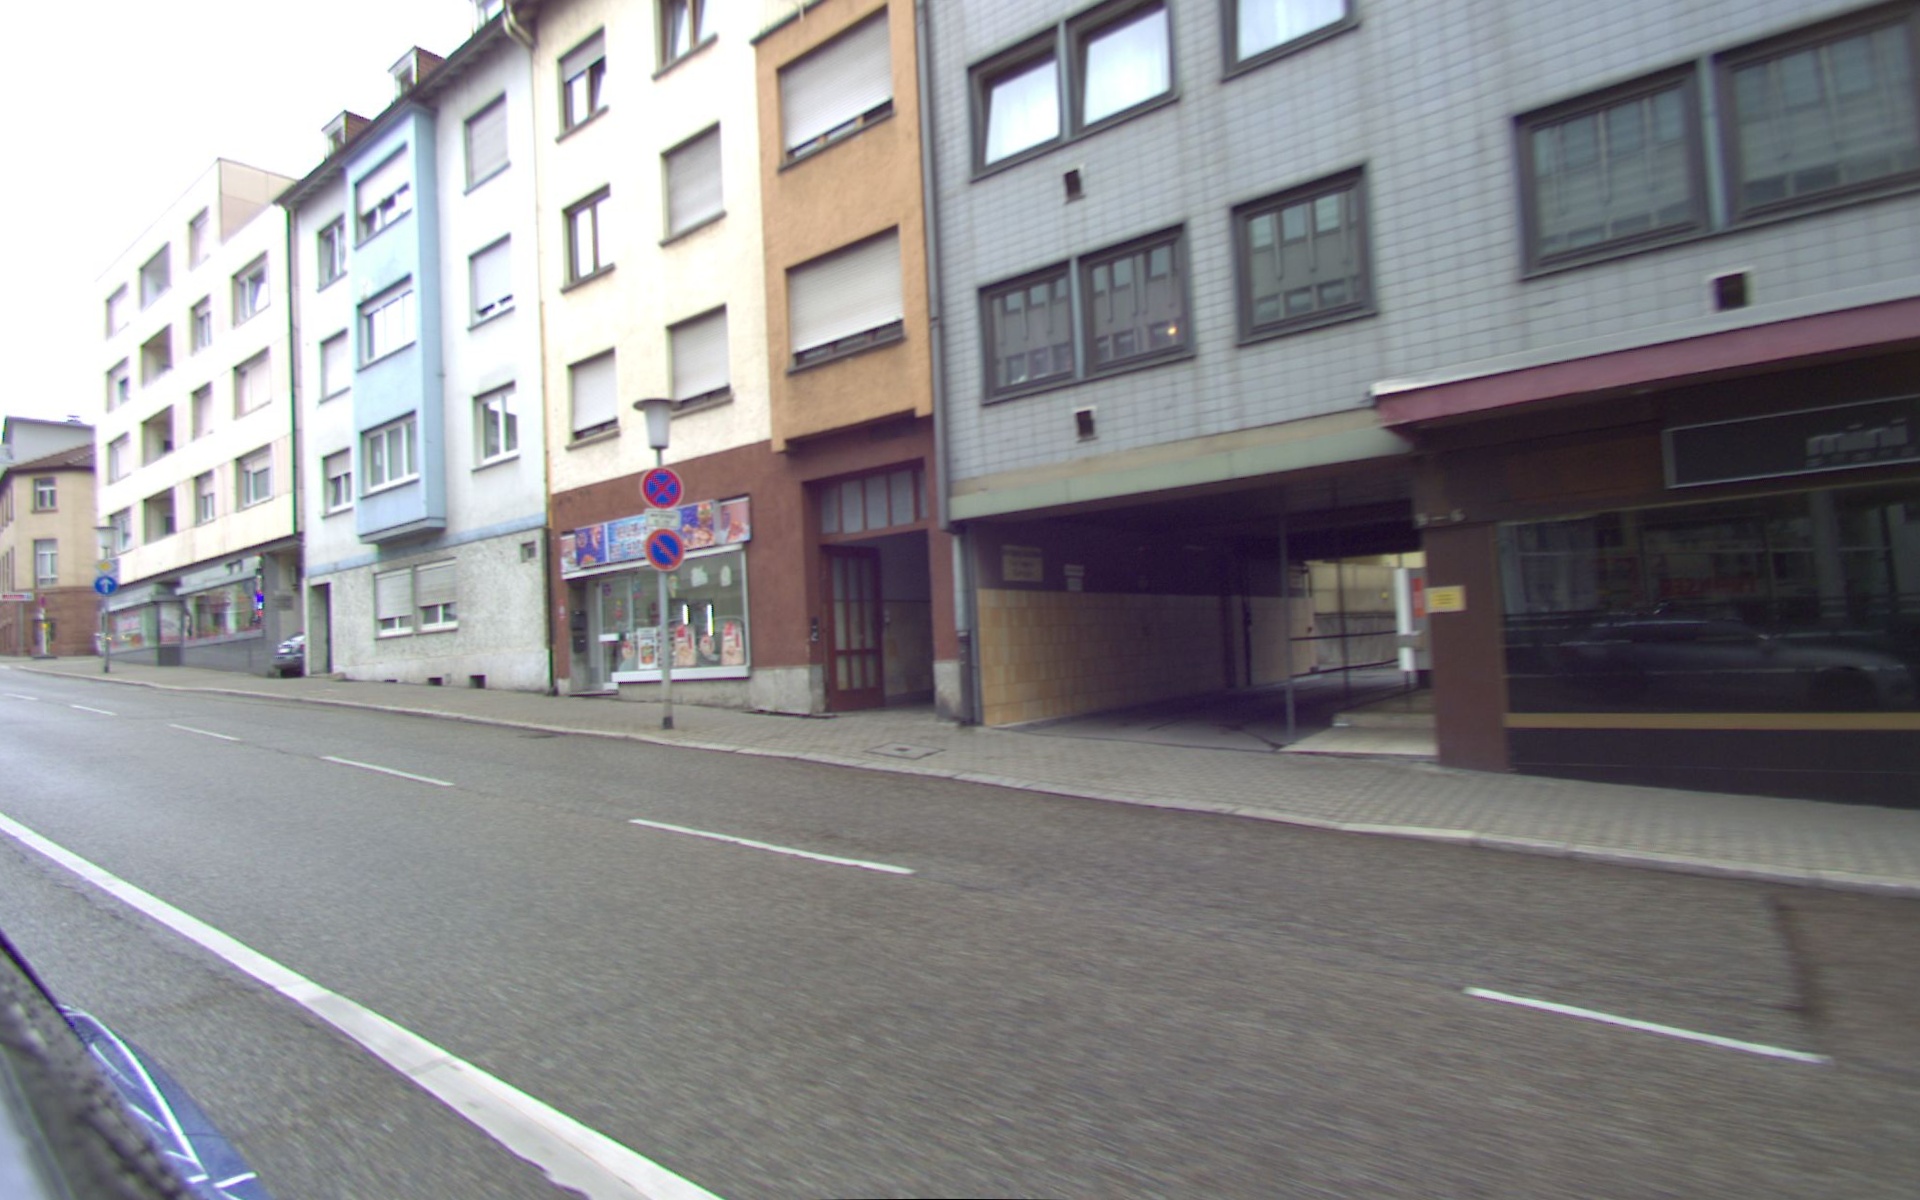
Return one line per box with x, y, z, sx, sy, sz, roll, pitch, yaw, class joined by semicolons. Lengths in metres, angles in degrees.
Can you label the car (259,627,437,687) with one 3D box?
-17.343;1.683;28.873;1.672;1.361;3.958;-4;-9;30;car
